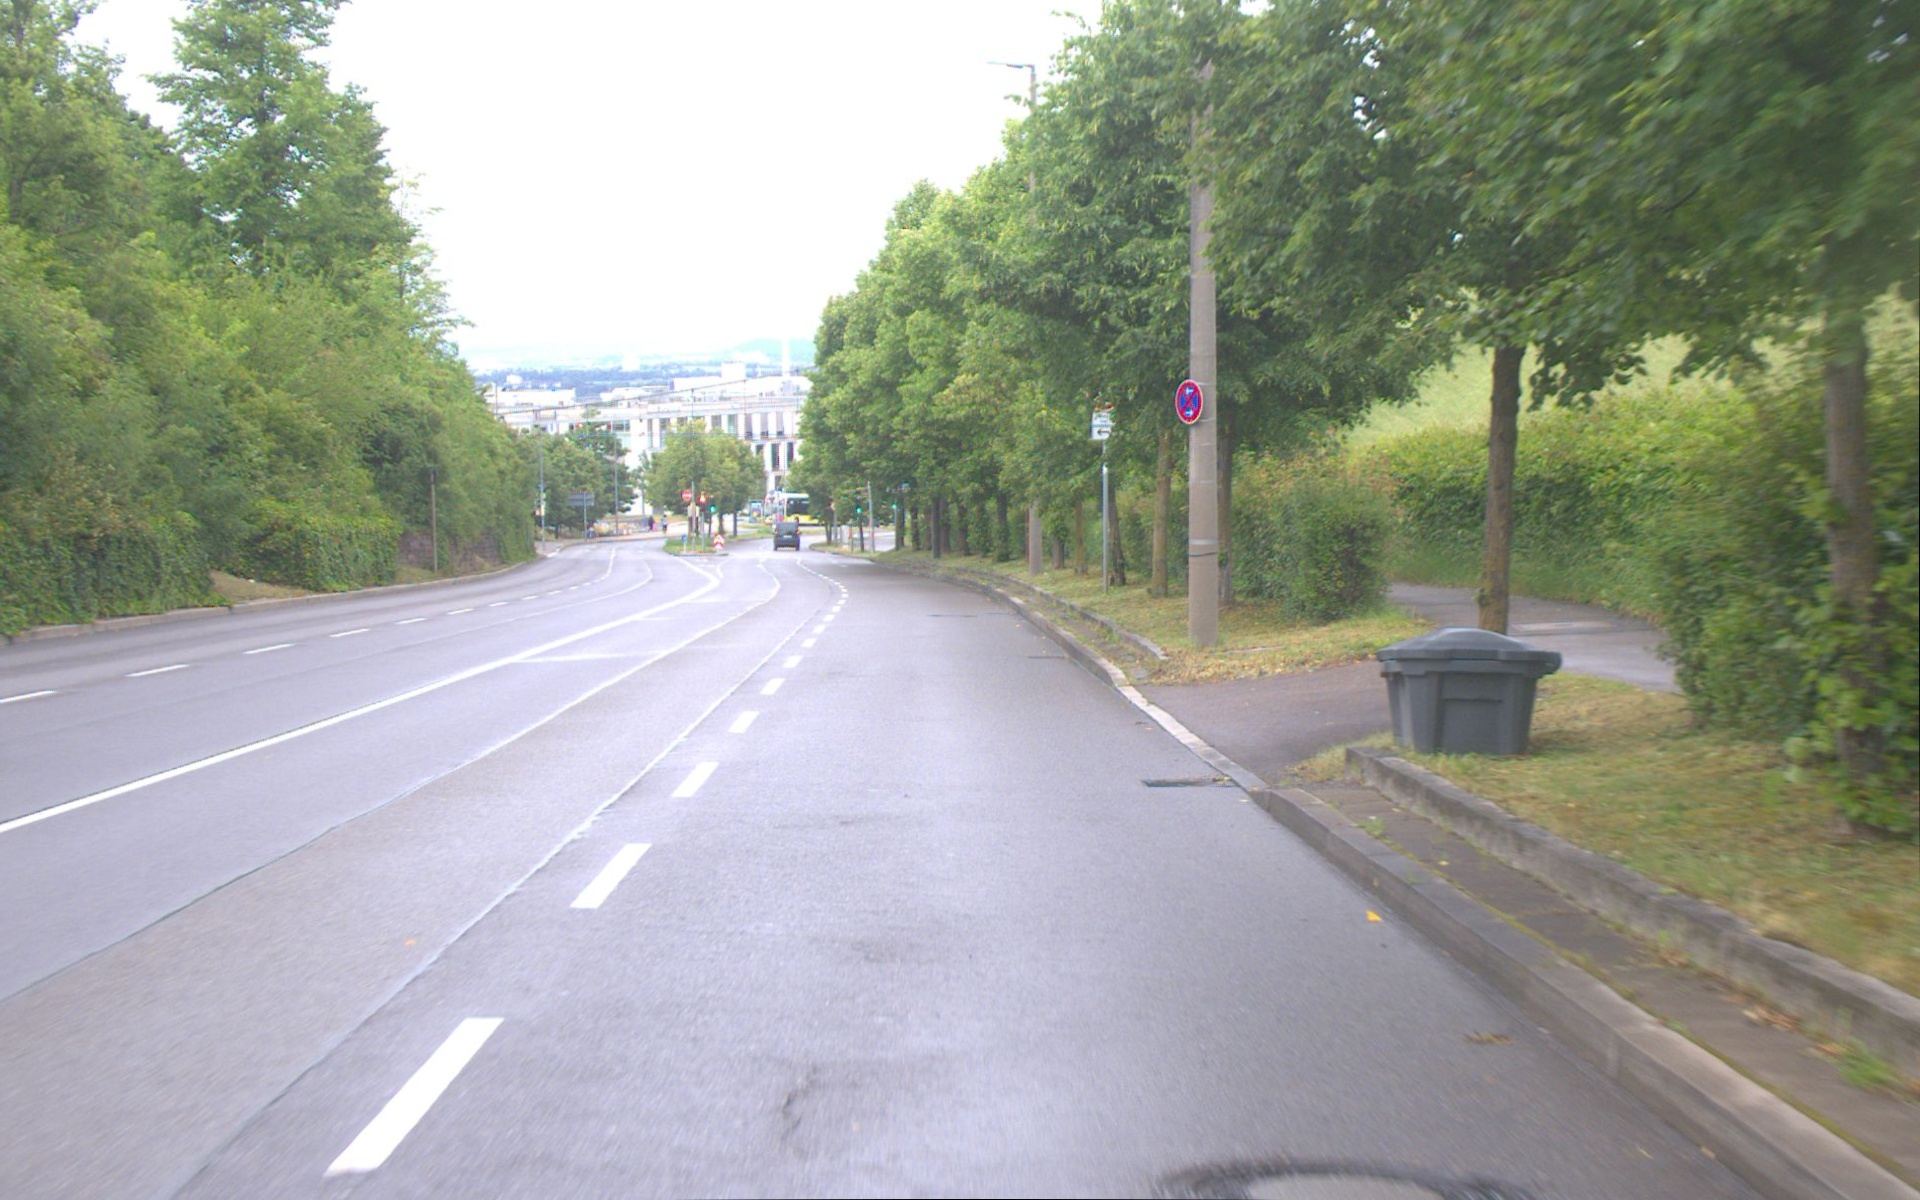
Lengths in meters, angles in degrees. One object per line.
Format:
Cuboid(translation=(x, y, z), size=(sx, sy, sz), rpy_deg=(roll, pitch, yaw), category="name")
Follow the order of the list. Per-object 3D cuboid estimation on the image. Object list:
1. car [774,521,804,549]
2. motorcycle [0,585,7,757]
Cuboid(translation=(-11.053, -4.205, 221.877), size=(1.849, 1.696, 3.793), rpy_deg=(1, 0, -3), category="car")
Cuboid(translation=(-6.682, 0.480, 21.574), size=(0.805, 1.127, 2.231), rpy_deg=(0, 1, -1), category="motorcycle")
